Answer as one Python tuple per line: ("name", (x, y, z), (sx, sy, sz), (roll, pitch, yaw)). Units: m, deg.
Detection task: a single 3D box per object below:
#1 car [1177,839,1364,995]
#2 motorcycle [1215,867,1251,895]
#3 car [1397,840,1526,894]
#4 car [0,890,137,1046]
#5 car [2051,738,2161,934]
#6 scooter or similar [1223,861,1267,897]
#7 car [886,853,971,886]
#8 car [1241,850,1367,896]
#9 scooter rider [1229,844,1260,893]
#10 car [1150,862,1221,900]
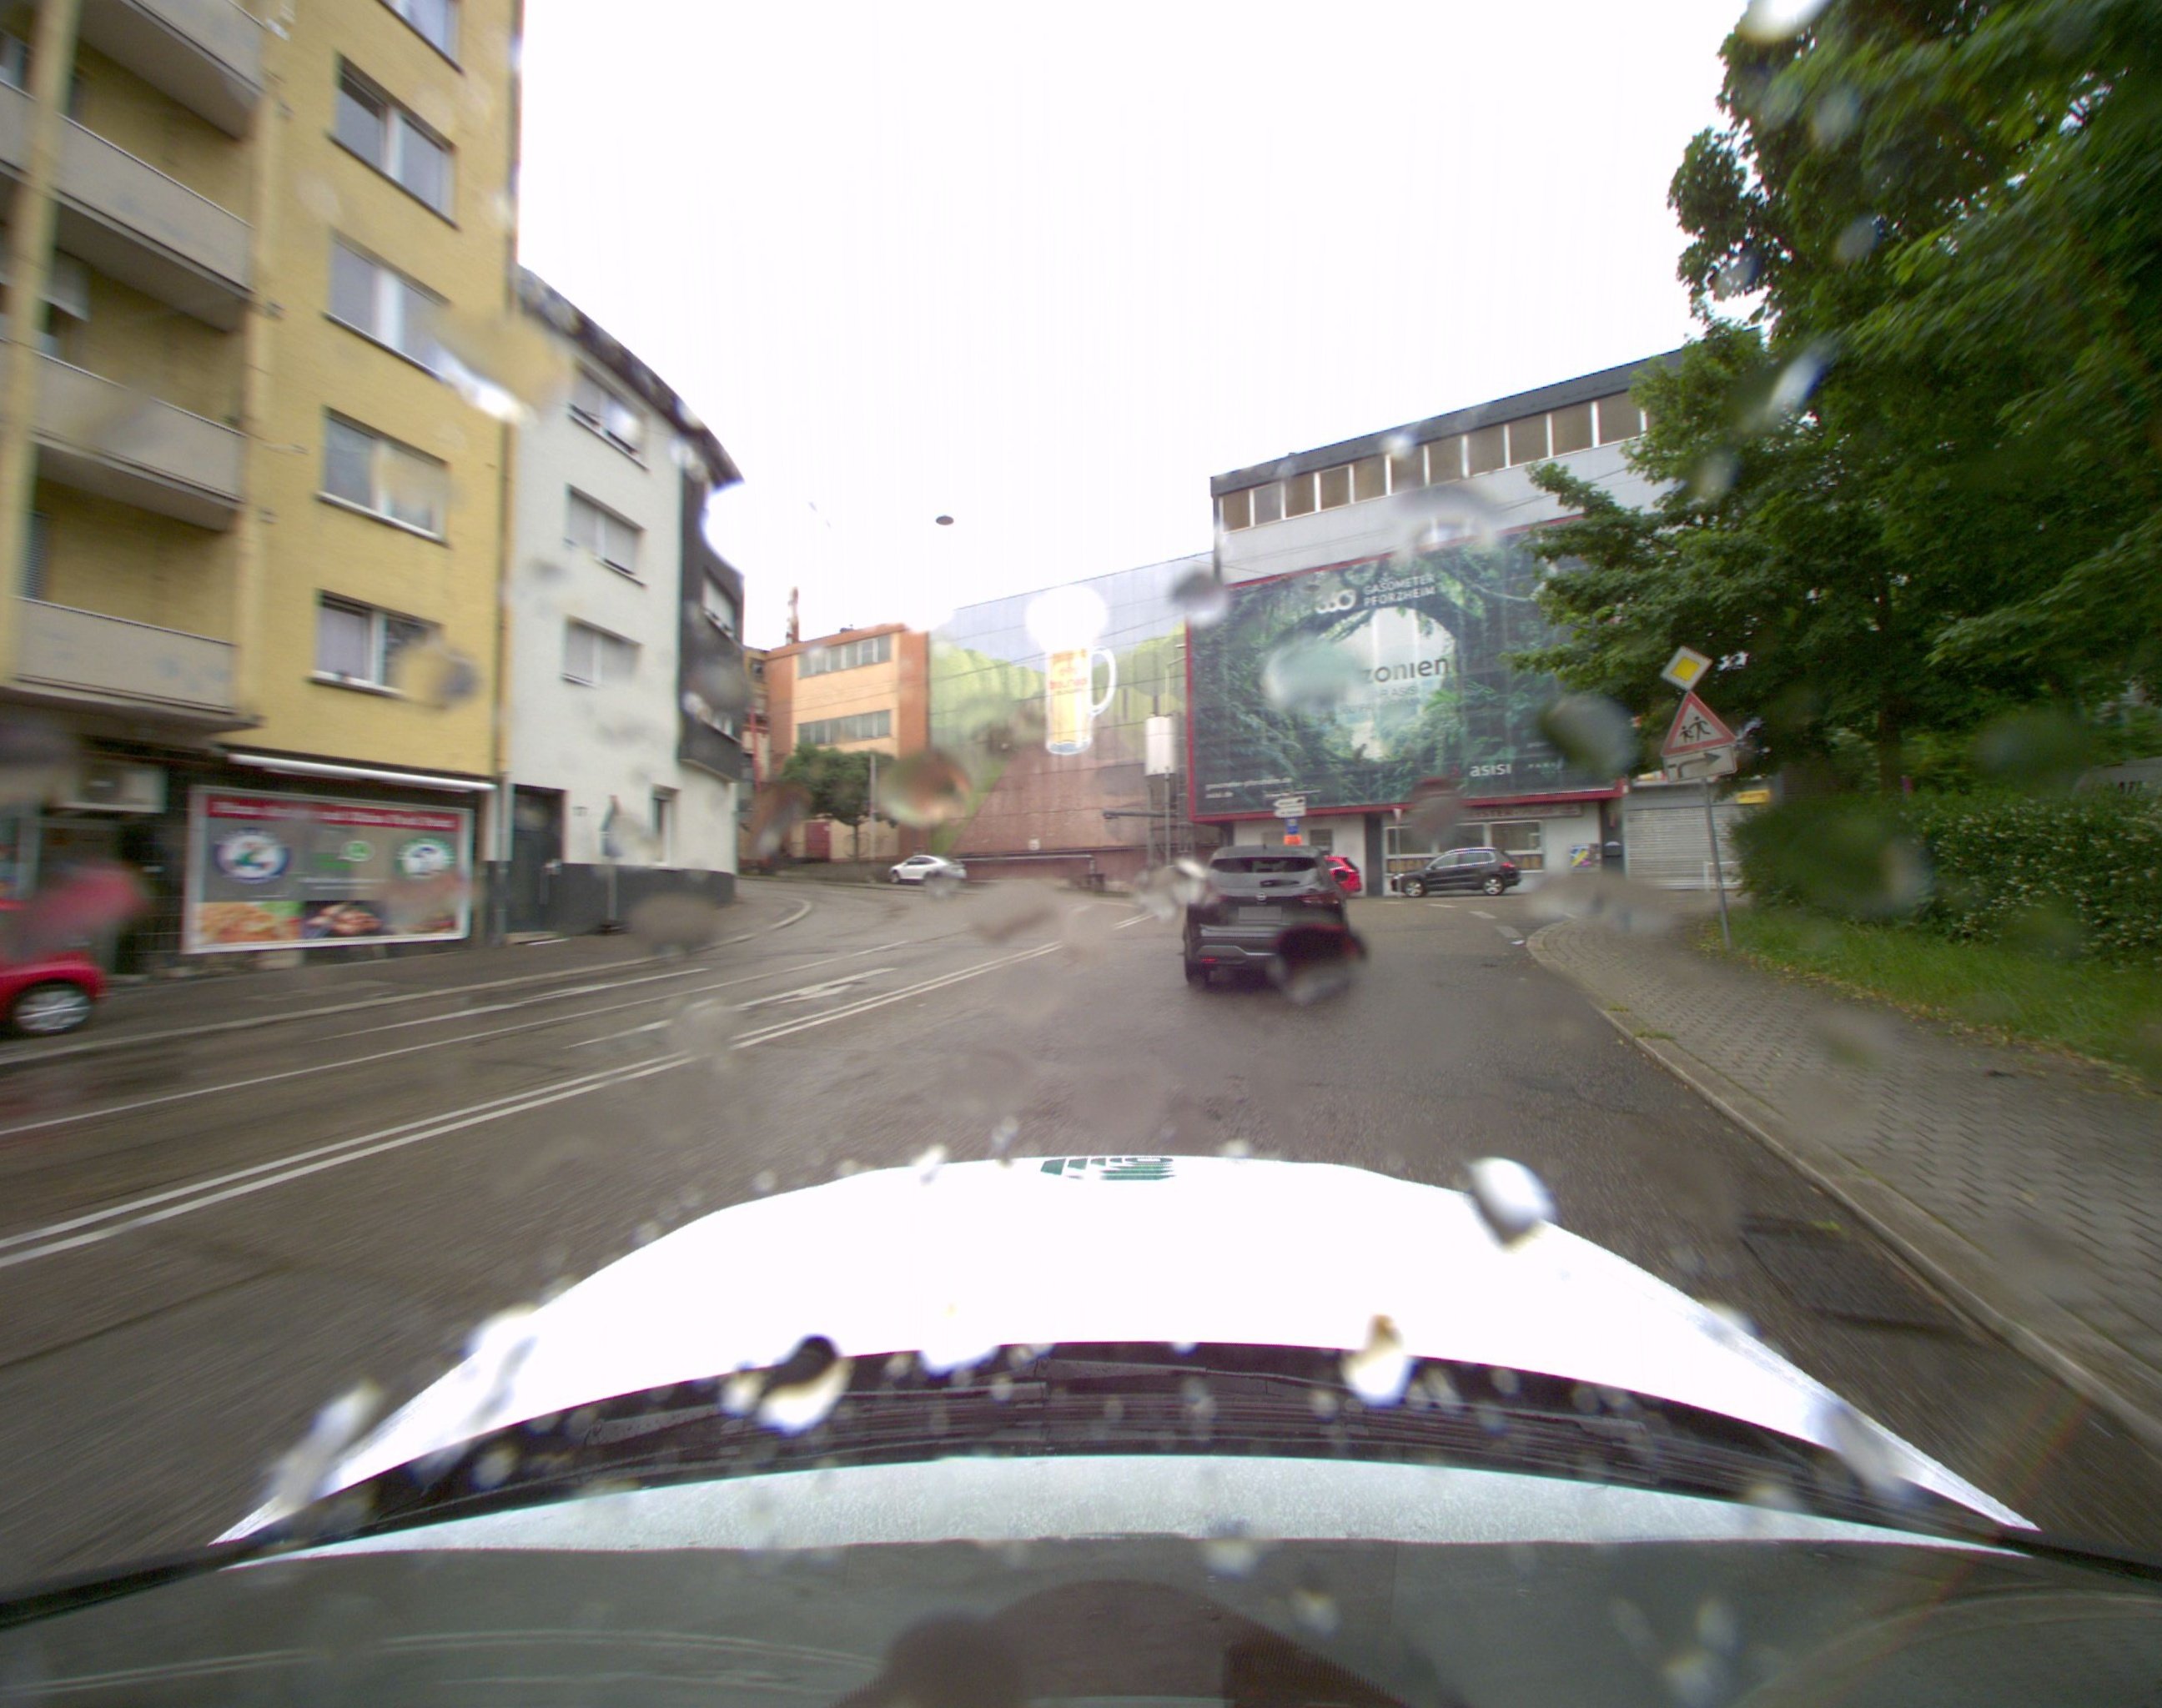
("car", (2.407, 0.625, 10.402), (1.868, 1.593, 3.936), (-1, 1, 13))
("motorcycle", (6.431, 1.132, 34.437), (1.407, 1.161, 0.454), (-1, -3, 17))
("car", (13.621, 0.480, 29.201), (3.948, 1.712, 1.944), (-4, -2, 30))
("car", (-11.742, 1.167, 7.558), (1.596, 1.464, 3.552), (0, 0, 21))
("car", (12.966, -0.251, 7.950), (4.158, 1.960, 1.647), (-2, 1, 28))
("scooter or similar", (6.273, 0.960, 31.169), (1.390, 1.323, 0.810), (-3, -2, 41))
("car", (-8.453, 0.842, 44.842), (4.853, 1.617, 1.870), (2, -1, 39))
("car", (8.840, 0.770, 32.327), (4.434, 1.712, 1.944), (-2, -2, 30))
("scooter rider", (6.262, 0.563, 31.174), (0.772, 1.821, 0.810), (-3, -2, 41))
("car", (4.729, 1.171, 36.350), (1.852, 1.533, 4.016), (-1, 0, 27))
